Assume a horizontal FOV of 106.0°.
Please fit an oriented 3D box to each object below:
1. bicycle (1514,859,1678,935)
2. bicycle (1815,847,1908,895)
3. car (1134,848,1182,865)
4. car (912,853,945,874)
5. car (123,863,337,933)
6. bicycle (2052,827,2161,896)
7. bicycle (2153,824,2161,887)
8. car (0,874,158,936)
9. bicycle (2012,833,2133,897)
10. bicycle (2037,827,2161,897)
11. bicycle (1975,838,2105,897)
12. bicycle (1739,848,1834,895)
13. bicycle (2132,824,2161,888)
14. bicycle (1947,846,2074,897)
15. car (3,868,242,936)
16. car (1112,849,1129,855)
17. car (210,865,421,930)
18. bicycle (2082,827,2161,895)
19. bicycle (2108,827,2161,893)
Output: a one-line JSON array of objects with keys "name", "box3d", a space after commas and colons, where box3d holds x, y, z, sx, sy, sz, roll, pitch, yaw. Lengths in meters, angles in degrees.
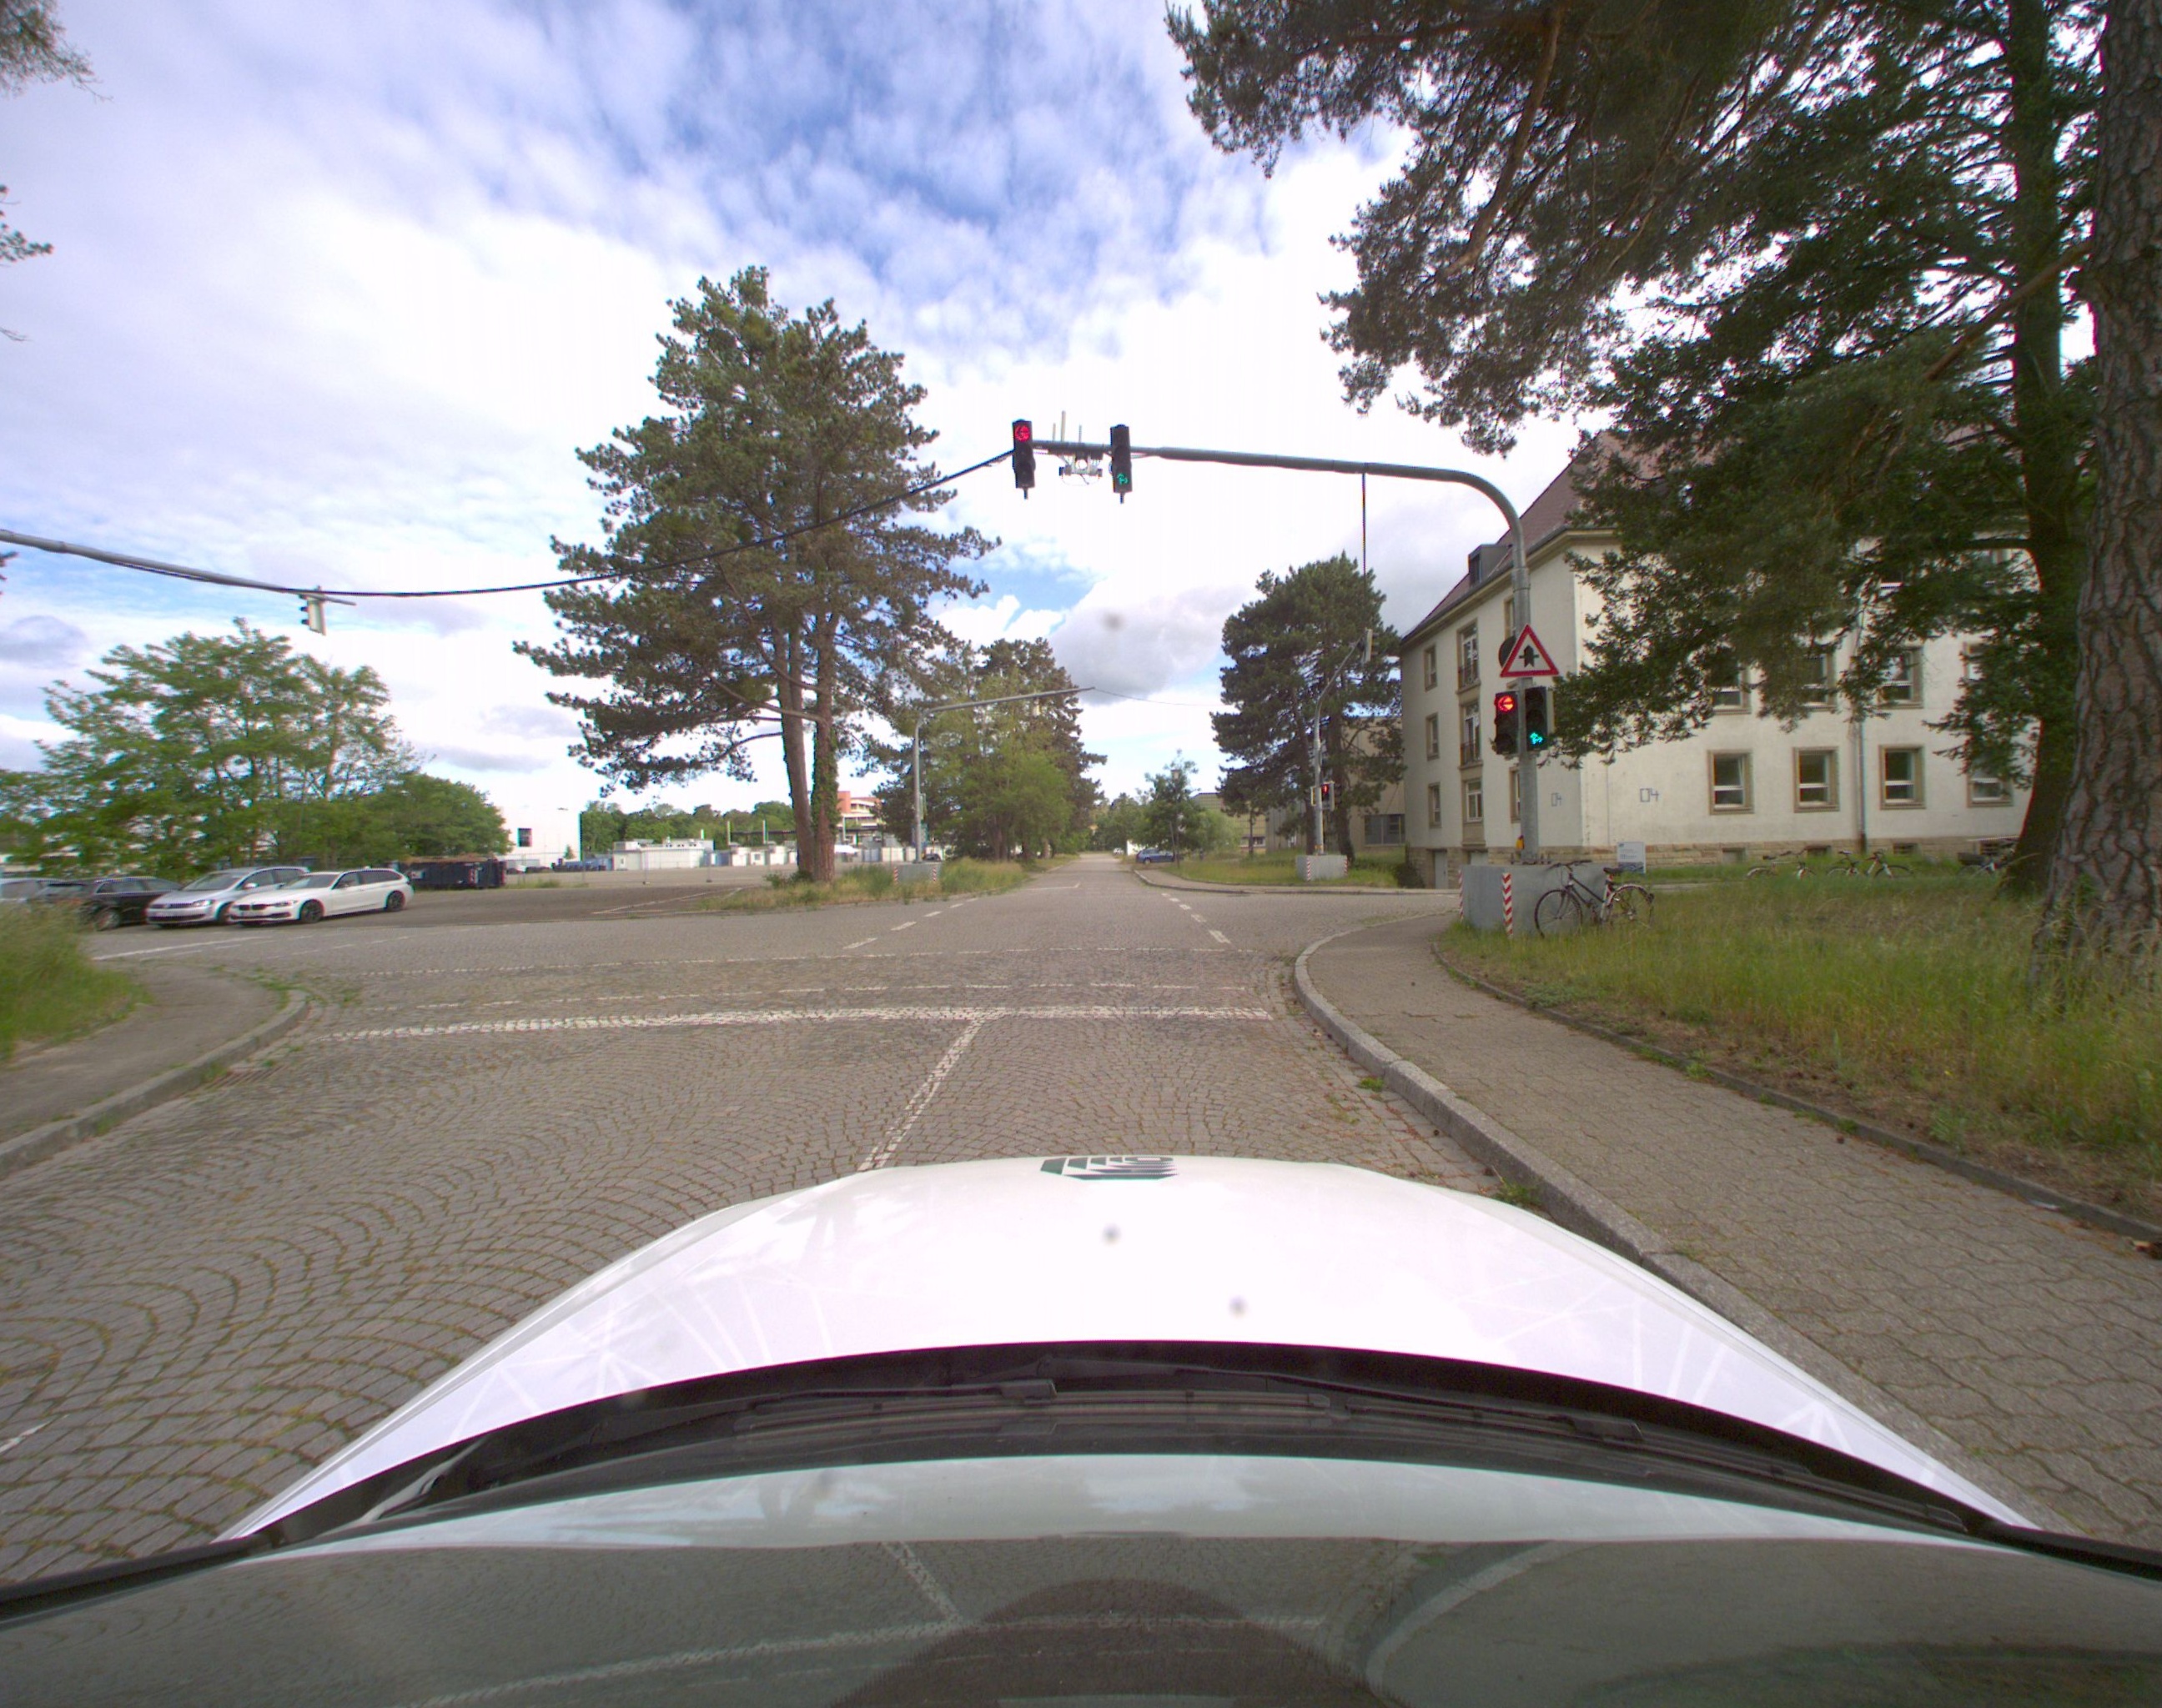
[{"name": "bicycle", "box3d": [6.480, 0.529, 10.299, 1.693, 0.874, 0.573, -2, 0, 1]}, {"name": "bicycle", "box3d": [17.154, 0.364, 17.912, 1.531, 1.014, 0.543, -1, 0, 0]}, {"name": "car", "box3d": [7.181, 0.254, 76.264, 4.331, 1.422, 1.999, -2, 0, -1]}, {"name": "car", "box3d": [-11.494, 0.711, 61.619, 1.607, 1.487, 4.001, -1, 0, 1]}, {"name": "car", "box3d": [-25.065, 1.217, 24.269, 1.817, 1.584, 4.324, -2, 3, -2]}, {"name": "bicycle", "box3d": [20.951, 0.132, 16.403, 0.573, 1.320, 1.979, -1, 0, 7]}, {"name": "bicycle", "box3d": [23.124, 0.033, 16.441, 0.550, 1.320, 1.942, -1, 0, 7]}, {"name": "car", "box3d": [-30.499, 1.467, 23.952, 1.788, 1.566, 4.323, -2, 0, -2]}, {"name": "bicycle", "box3d": [19.882, 0.202, 16.383, 0.538, 1.215, 1.642, -1, 0, 7]}, {"name": "bicycle", "box3d": [20.380, 0.138, 16.217, 0.435, 1.320, 2.051, -1, 0, 7]}, {"name": "bicycle", "box3d": [19.308, 0.250, 16.462, 0.538, 1.101, 1.905, -1, 0, 7]}, {"name": "bicycle", "box3d": [15.398, 0.370, 17.798, 1.615, 0.980, 0.530, -1, 0, 0]}, {"name": "bicycle", "box3d": [22.514, 0.041, 16.347, 0.552, 1.320, 1.856, -1, 0, 7]}, {"name": "bicycle", "box3d": [18.657, 0.326, 16.419, 0.538, 0.949, 1.905, -1, 0, 6]}, {"name": "car", "box3d": [-27.822, 1.320, 23.908, 1.850, 1.501, 4.324, -2, 3, -2]}, {"name": "car", "box3d": [9.373, -0.478, 193.358, 3.980, 1.398, 1.997, -2, 0, -5]}, {"name": "car", "box3d": [-22.572, 1.196, 24.340, 1.805, 1.441, 4.739, -2, 2, -1]}, {"name": "bicycle", "box3d": [21.540, 0.128, 16.417, 0.503, 1.320, 1.923, -1, 0, 7]}, {"name": "bicycle", "box3d": [21.988, 0.123, 16.383, 0.389, 1.320, 1.922, -1, 0, 7]}]
